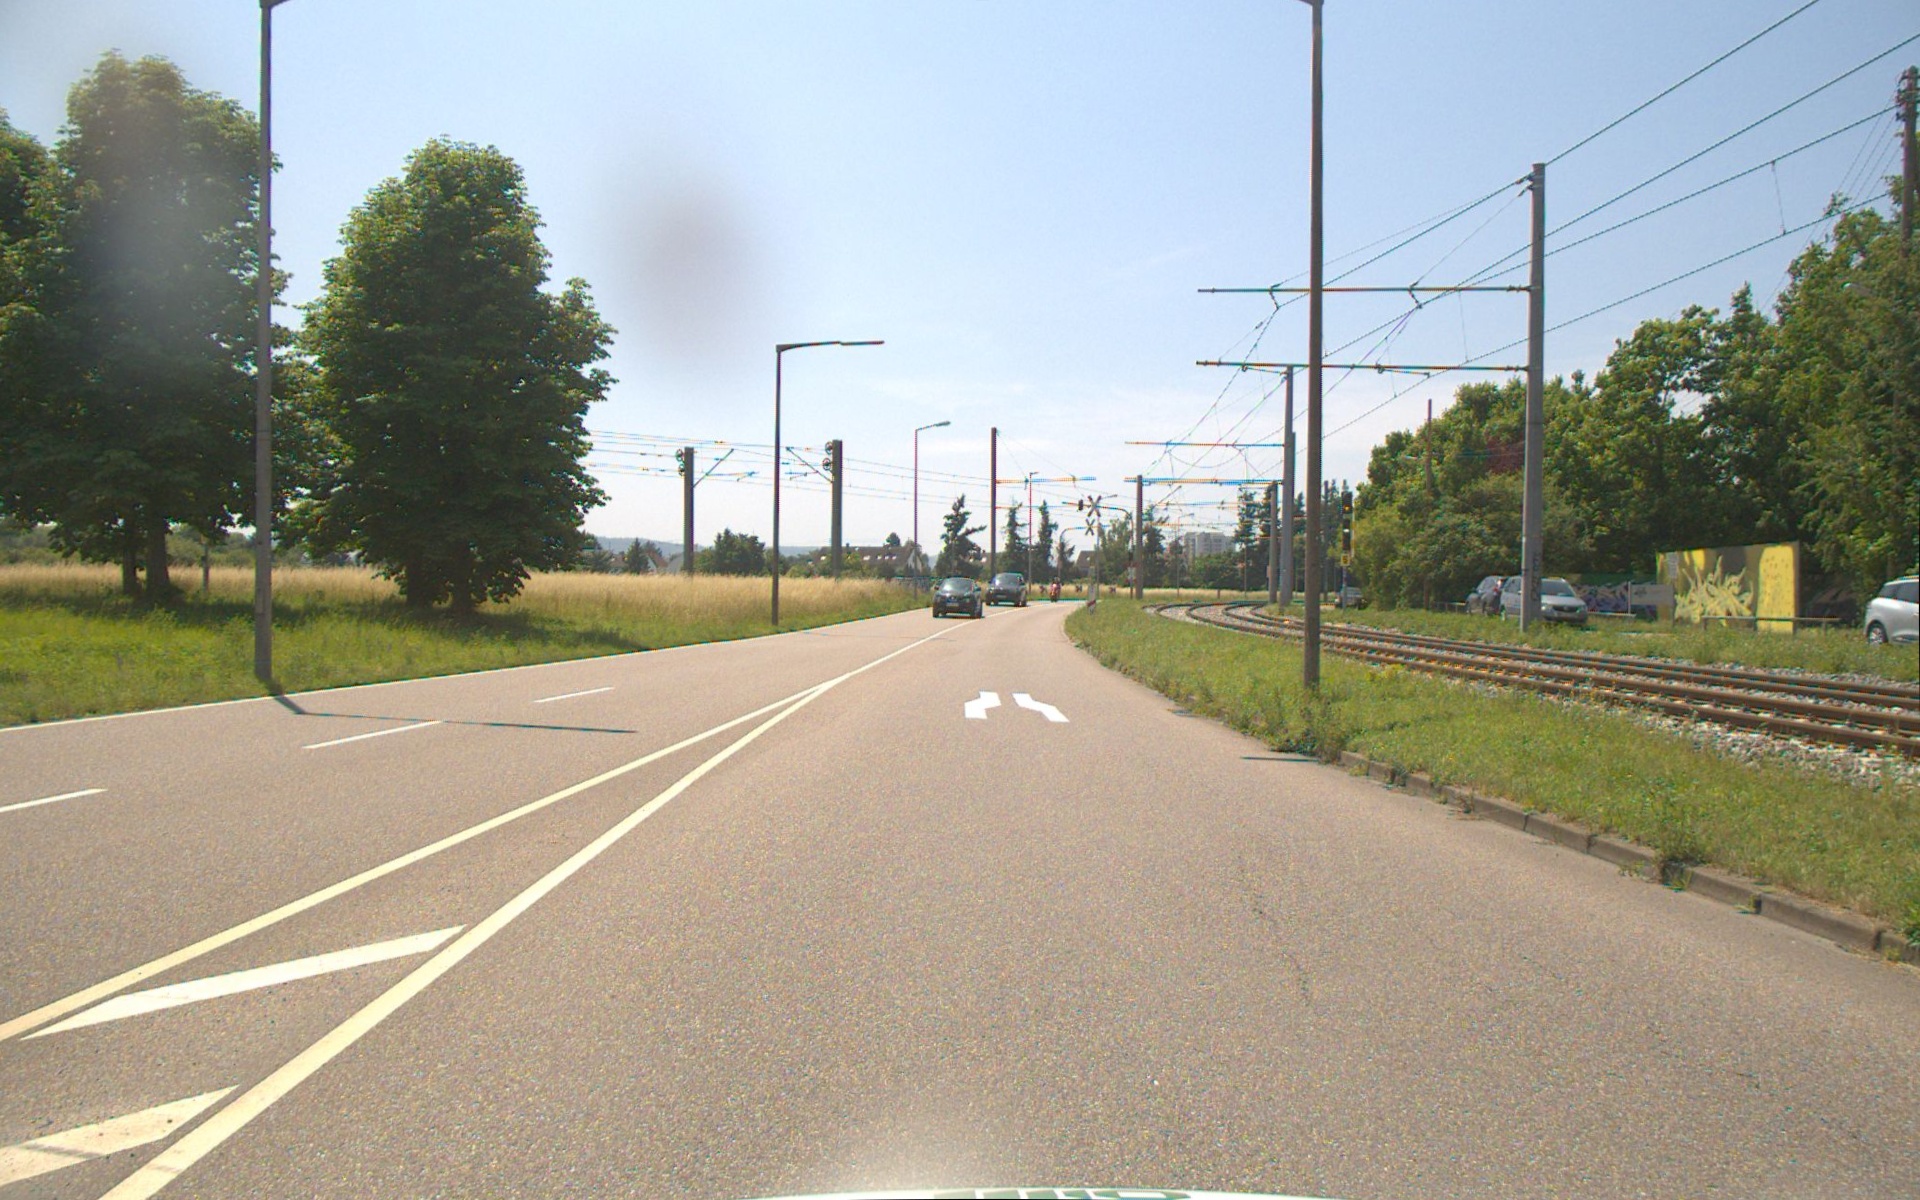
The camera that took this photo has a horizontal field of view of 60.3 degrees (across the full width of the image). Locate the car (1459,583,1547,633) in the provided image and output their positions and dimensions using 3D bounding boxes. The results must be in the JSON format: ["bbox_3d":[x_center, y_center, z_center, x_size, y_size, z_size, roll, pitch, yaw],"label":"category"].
[{"bbox_3d":[19.237,0.313,58.829,1.789,1.686,4.817,1,-1,3],"label":"car"}]

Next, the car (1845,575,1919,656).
[{"bbox_3d":[17.858,0.291,29.668,1.645,1.439,4.550,1,-1,1],"label":"car"}]

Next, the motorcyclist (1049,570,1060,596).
[{"bbox_3d":[6.208,-1.122,108.796,0.674,1.613,0.670,1,3,3],"label":"motorcyclist"}]

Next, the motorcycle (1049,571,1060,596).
[{"bbox_3d":[6.236,-1.095,109.002,0.689,1.613,2.148,1,2,3],"label":"motorcycle"}]

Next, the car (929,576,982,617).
[{"bbox_3d":[-0.139,-0.124,67.257,1.783,1.600,4.114,1,-1,5],"label":"car"}]

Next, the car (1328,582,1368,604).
[{"bbox_3d":[23.259,-0.407,99.219,1.610,1.191,3.669,1,-1,2],"label":"car"}]

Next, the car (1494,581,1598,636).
[{"bbox_3d":[18.448,0.289,52.289,1.642,1.653,4.711,1,-1,0],"label":"car"}]

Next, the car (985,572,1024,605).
[{"bbox_3d":[2.353,-0.623,86.473,1.788,1.629,4.487,1,1,4],"label":"car"}]
